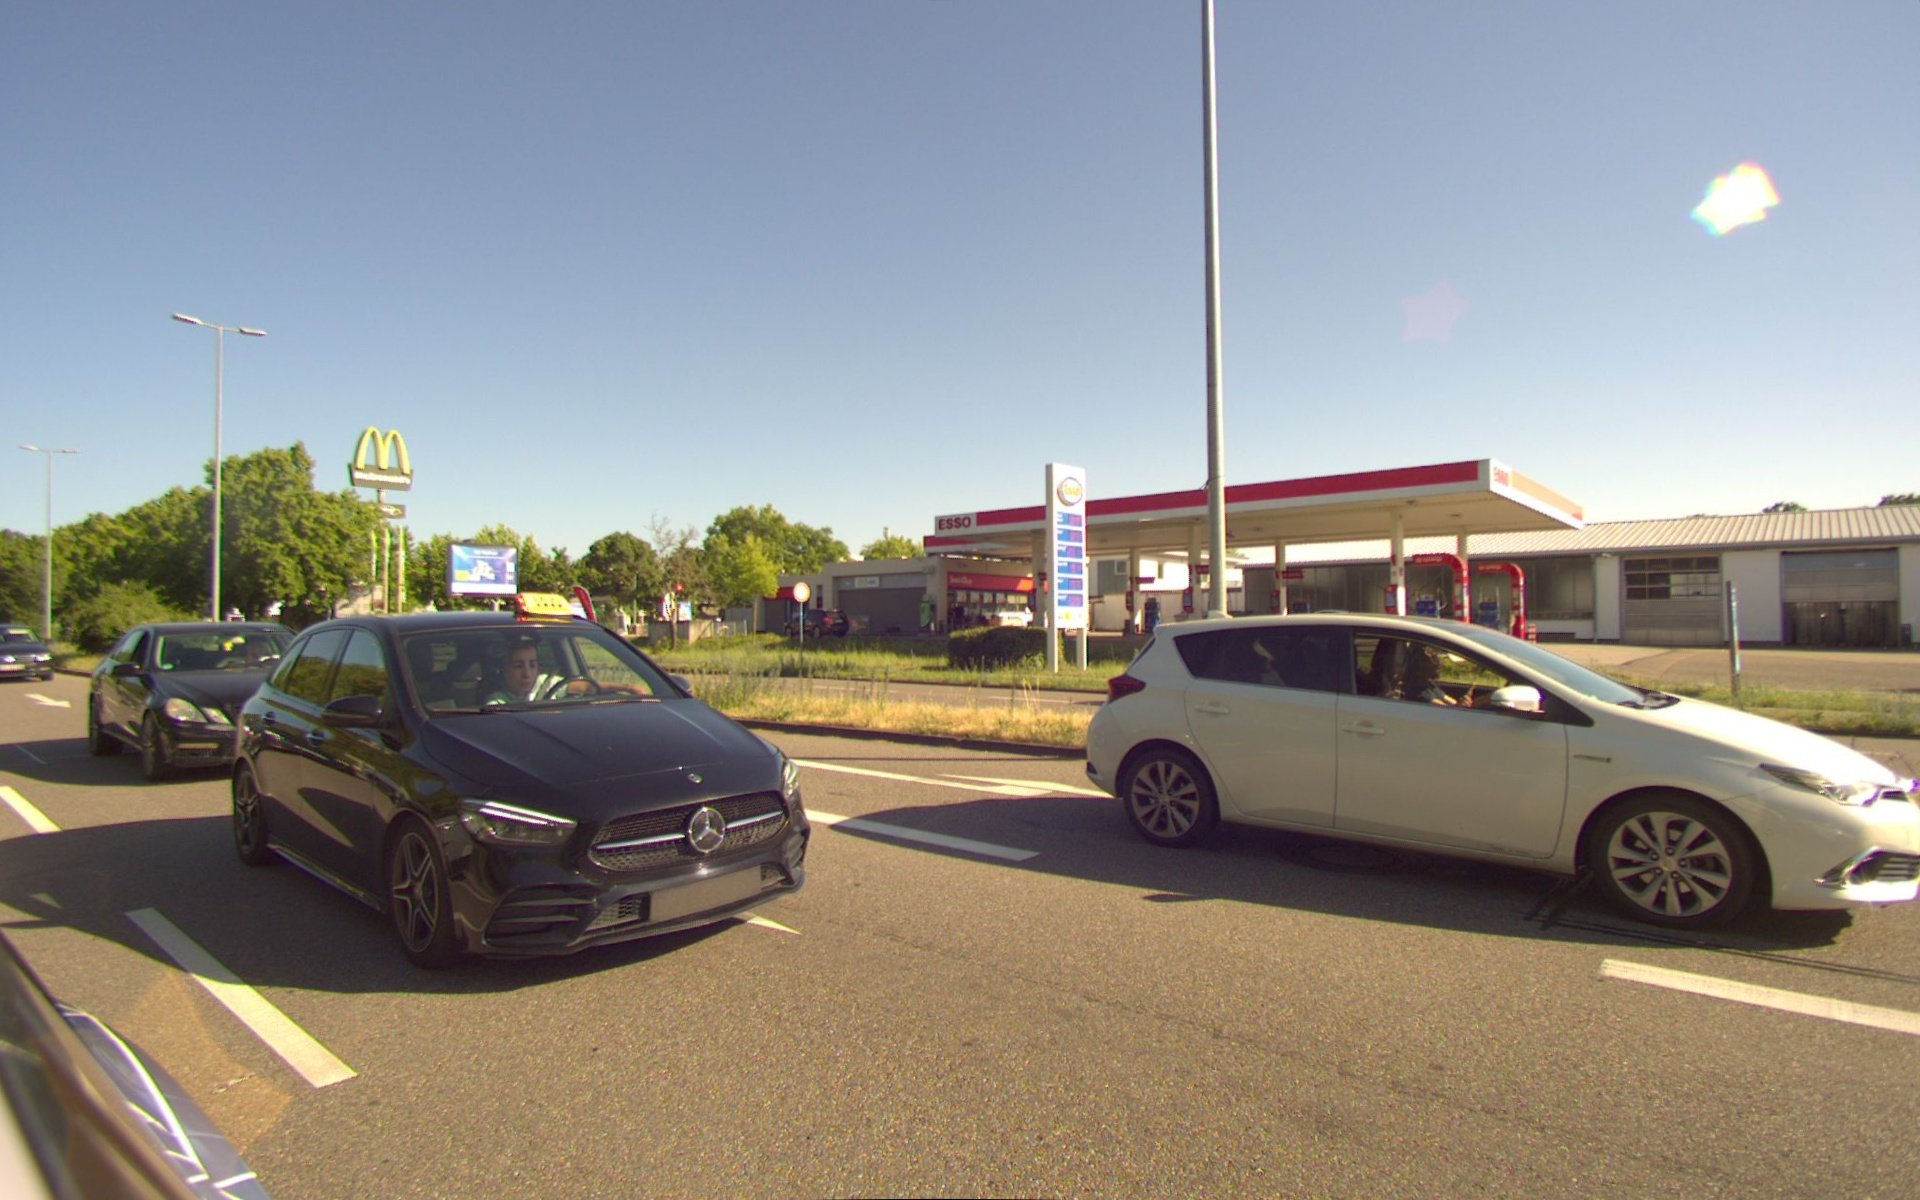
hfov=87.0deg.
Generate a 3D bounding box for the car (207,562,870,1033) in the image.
[{"bbox_3d":[-2.580,0.741,5.609,4.187,1.638,1.780,-2,-2,42],"label":"car"}]

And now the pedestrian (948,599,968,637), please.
[{"bbox_3d":[-0.100,0.994,54.798,0.840,2.029,0.694,-2,-2,41],"label":"pedestrian"}]

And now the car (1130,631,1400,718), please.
[{"bbox_3d":[5.754,1.358,19.417,4.603,1.457,1.884,-1,-4,40],"label":"car"}]

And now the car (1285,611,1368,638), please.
[{"bbox_3d":[19.846,1.326,54.873,3.844,1.450,1.730,-2,-2,39],"label":"car"}]

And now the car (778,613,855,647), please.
[{"bbox_3d":[-7.823,1.629,54.951,4.117,1.783,1.972,-2,-2,43],"label":"car"}]

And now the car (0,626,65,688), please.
[{"bbox_3d":[-24.667,1.428,26.107,4.401,1.492,1.838,-2,-2,41],"label":"car"}]

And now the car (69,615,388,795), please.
[{"bbox_3d":[-7.944,0.955,10.831,4.401,1.535,1.838,-2,-2,41],"label":"car"}]

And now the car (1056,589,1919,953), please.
[{"bbox_3d":[2.902,0.726,5.979,4.400,1.440,1.838,-2,-2,40],"label":"car"}]
